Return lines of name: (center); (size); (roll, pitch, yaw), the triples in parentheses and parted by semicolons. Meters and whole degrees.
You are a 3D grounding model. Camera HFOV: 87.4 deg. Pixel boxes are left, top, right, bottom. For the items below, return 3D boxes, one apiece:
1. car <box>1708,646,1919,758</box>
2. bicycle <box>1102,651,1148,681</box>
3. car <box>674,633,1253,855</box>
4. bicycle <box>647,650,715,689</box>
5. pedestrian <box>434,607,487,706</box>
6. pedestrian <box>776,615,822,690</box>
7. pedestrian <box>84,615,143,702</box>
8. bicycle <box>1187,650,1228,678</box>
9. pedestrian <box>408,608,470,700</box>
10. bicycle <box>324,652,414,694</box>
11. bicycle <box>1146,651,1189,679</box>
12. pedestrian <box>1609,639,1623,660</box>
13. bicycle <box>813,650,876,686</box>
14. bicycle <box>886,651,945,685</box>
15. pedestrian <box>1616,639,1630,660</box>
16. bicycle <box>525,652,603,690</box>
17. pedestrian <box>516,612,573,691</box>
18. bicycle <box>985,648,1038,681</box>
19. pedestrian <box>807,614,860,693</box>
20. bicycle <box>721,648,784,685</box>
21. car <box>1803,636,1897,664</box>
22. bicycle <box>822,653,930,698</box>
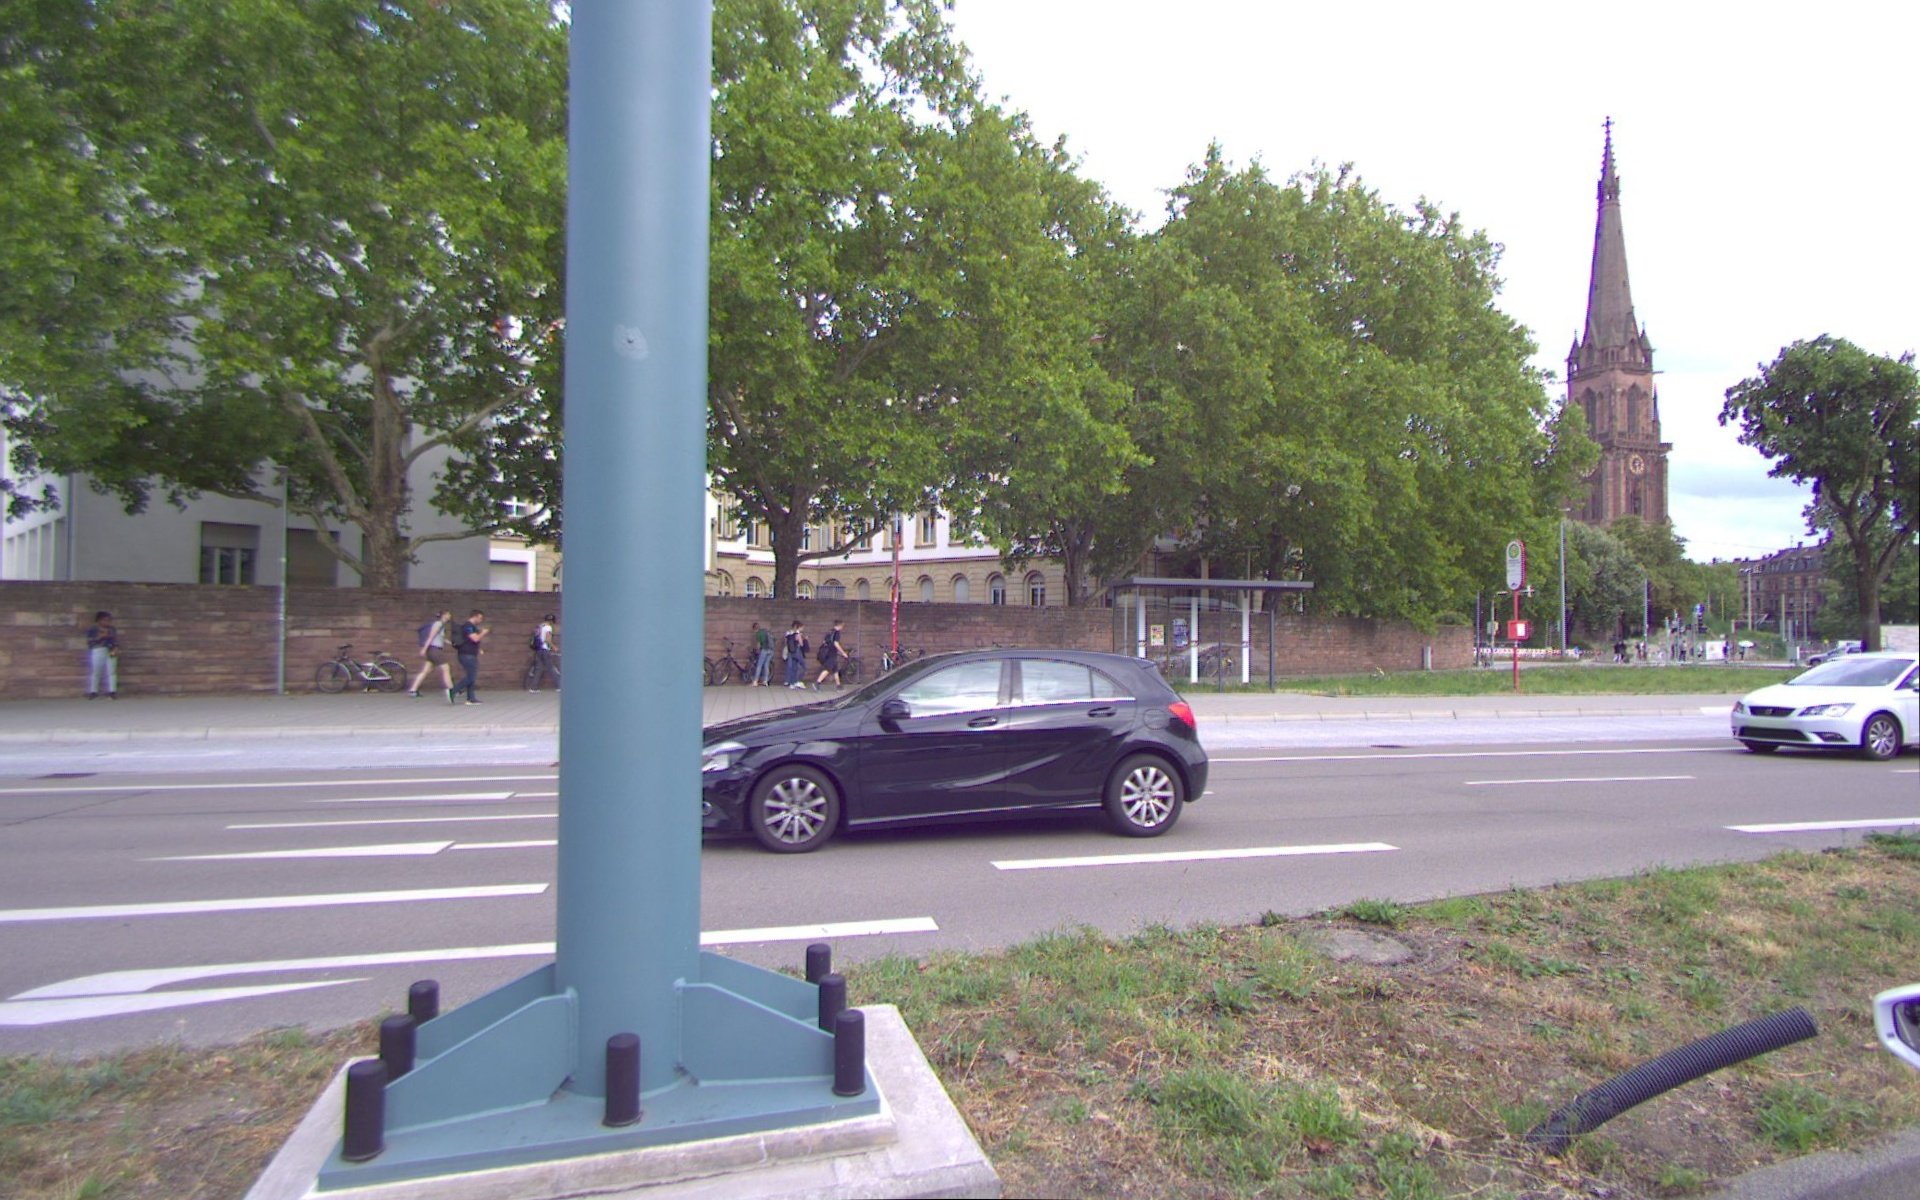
car: (13.210, 1.424, 14.380); (4.102, 1.461, 1.699); (1, -5, -12)
bicycle: (5.329, 2.131, 32.451); (1.606, 0.919, 0.477); (2, 0, -37)
car: (-0.017, 1.051, 8.179); (4.301, 1.508, 1.757); (1, -3, -12)
bicycle: (-6.760, 1.672, 24.356); (1.537, 0.890, 0.414); (2, 0, -30)
pedestrian: (-9.349, 1.059, 18.809); (0.715, 1.805, 0.753); (3, -5, -37)
pedestrian: (-3.943, 1.277, 24.601); (0.778, 1.806, 0.752); (3, -2, -41)
pedestrian: (-16.102, 1.116, 19.126); (0.728, 1.613, 0.582); (3, -2, -35)
bicycle: (8.624, 2.226, 34.999); (1.606, 0.919, 0.477); (2, 0, -37)
pedestrian: (-10.557, 1.082, 20.363); (0.908, 1.806, 0.752); (3, -2, -41)
bicycle: (-12.464, 1.534, 21.209); (1.602, 0.838, 0.438); (2, 0, -30)
bicycle: (7.001, 2.181, 33.852); (1.606, 0.919, 0.477); (2, 0, -37)
pedestrian: (50.007, 3.748, 76.562); (0.714, 1.581, 0.561); (1, -2, -19)
bicycle: (-3.055, 1.789, 26.638); (1.604, 0.890, 0.438); (2, 0, -34)
bicycle: (-1.230, 1.865, 27.834); (1.604, 0.890, 0.438); (2, 0, -34)
pedestrian: (49.866, 3.732, 75.512); (0.714, 1.581, 0.561); (1, -2, -19)
bicycle: (-9.096, 1.621, 23.096); (1.602, 0.838, 0.438); (2, 0, -30)
pedestrian: (-9.120, 1.119, 22.048); (0.917, 1.693, 0.752); (3, -2, -41)
bicycle: (1.528, 1.909, 29.793); (1.605, 0.919, 0.477); (2, 0, -36)
pedestrian: (-2.953, 1.247, 23.438); (0.917, 1.806, 0.752); (3, -2, -41)
bicycle: (-5.226, 1.671, 25.321); (1.504, 0.890, 0.345); (2, 0, -30)
car: (55.668, 3.111, 62.917); (1.621, 1.671, 4.152); (1, -2, -18)
bicycle: (-1.813, 1.626, 21.751); (2.294, 0.931, 0.471); (1, -1, -5)
